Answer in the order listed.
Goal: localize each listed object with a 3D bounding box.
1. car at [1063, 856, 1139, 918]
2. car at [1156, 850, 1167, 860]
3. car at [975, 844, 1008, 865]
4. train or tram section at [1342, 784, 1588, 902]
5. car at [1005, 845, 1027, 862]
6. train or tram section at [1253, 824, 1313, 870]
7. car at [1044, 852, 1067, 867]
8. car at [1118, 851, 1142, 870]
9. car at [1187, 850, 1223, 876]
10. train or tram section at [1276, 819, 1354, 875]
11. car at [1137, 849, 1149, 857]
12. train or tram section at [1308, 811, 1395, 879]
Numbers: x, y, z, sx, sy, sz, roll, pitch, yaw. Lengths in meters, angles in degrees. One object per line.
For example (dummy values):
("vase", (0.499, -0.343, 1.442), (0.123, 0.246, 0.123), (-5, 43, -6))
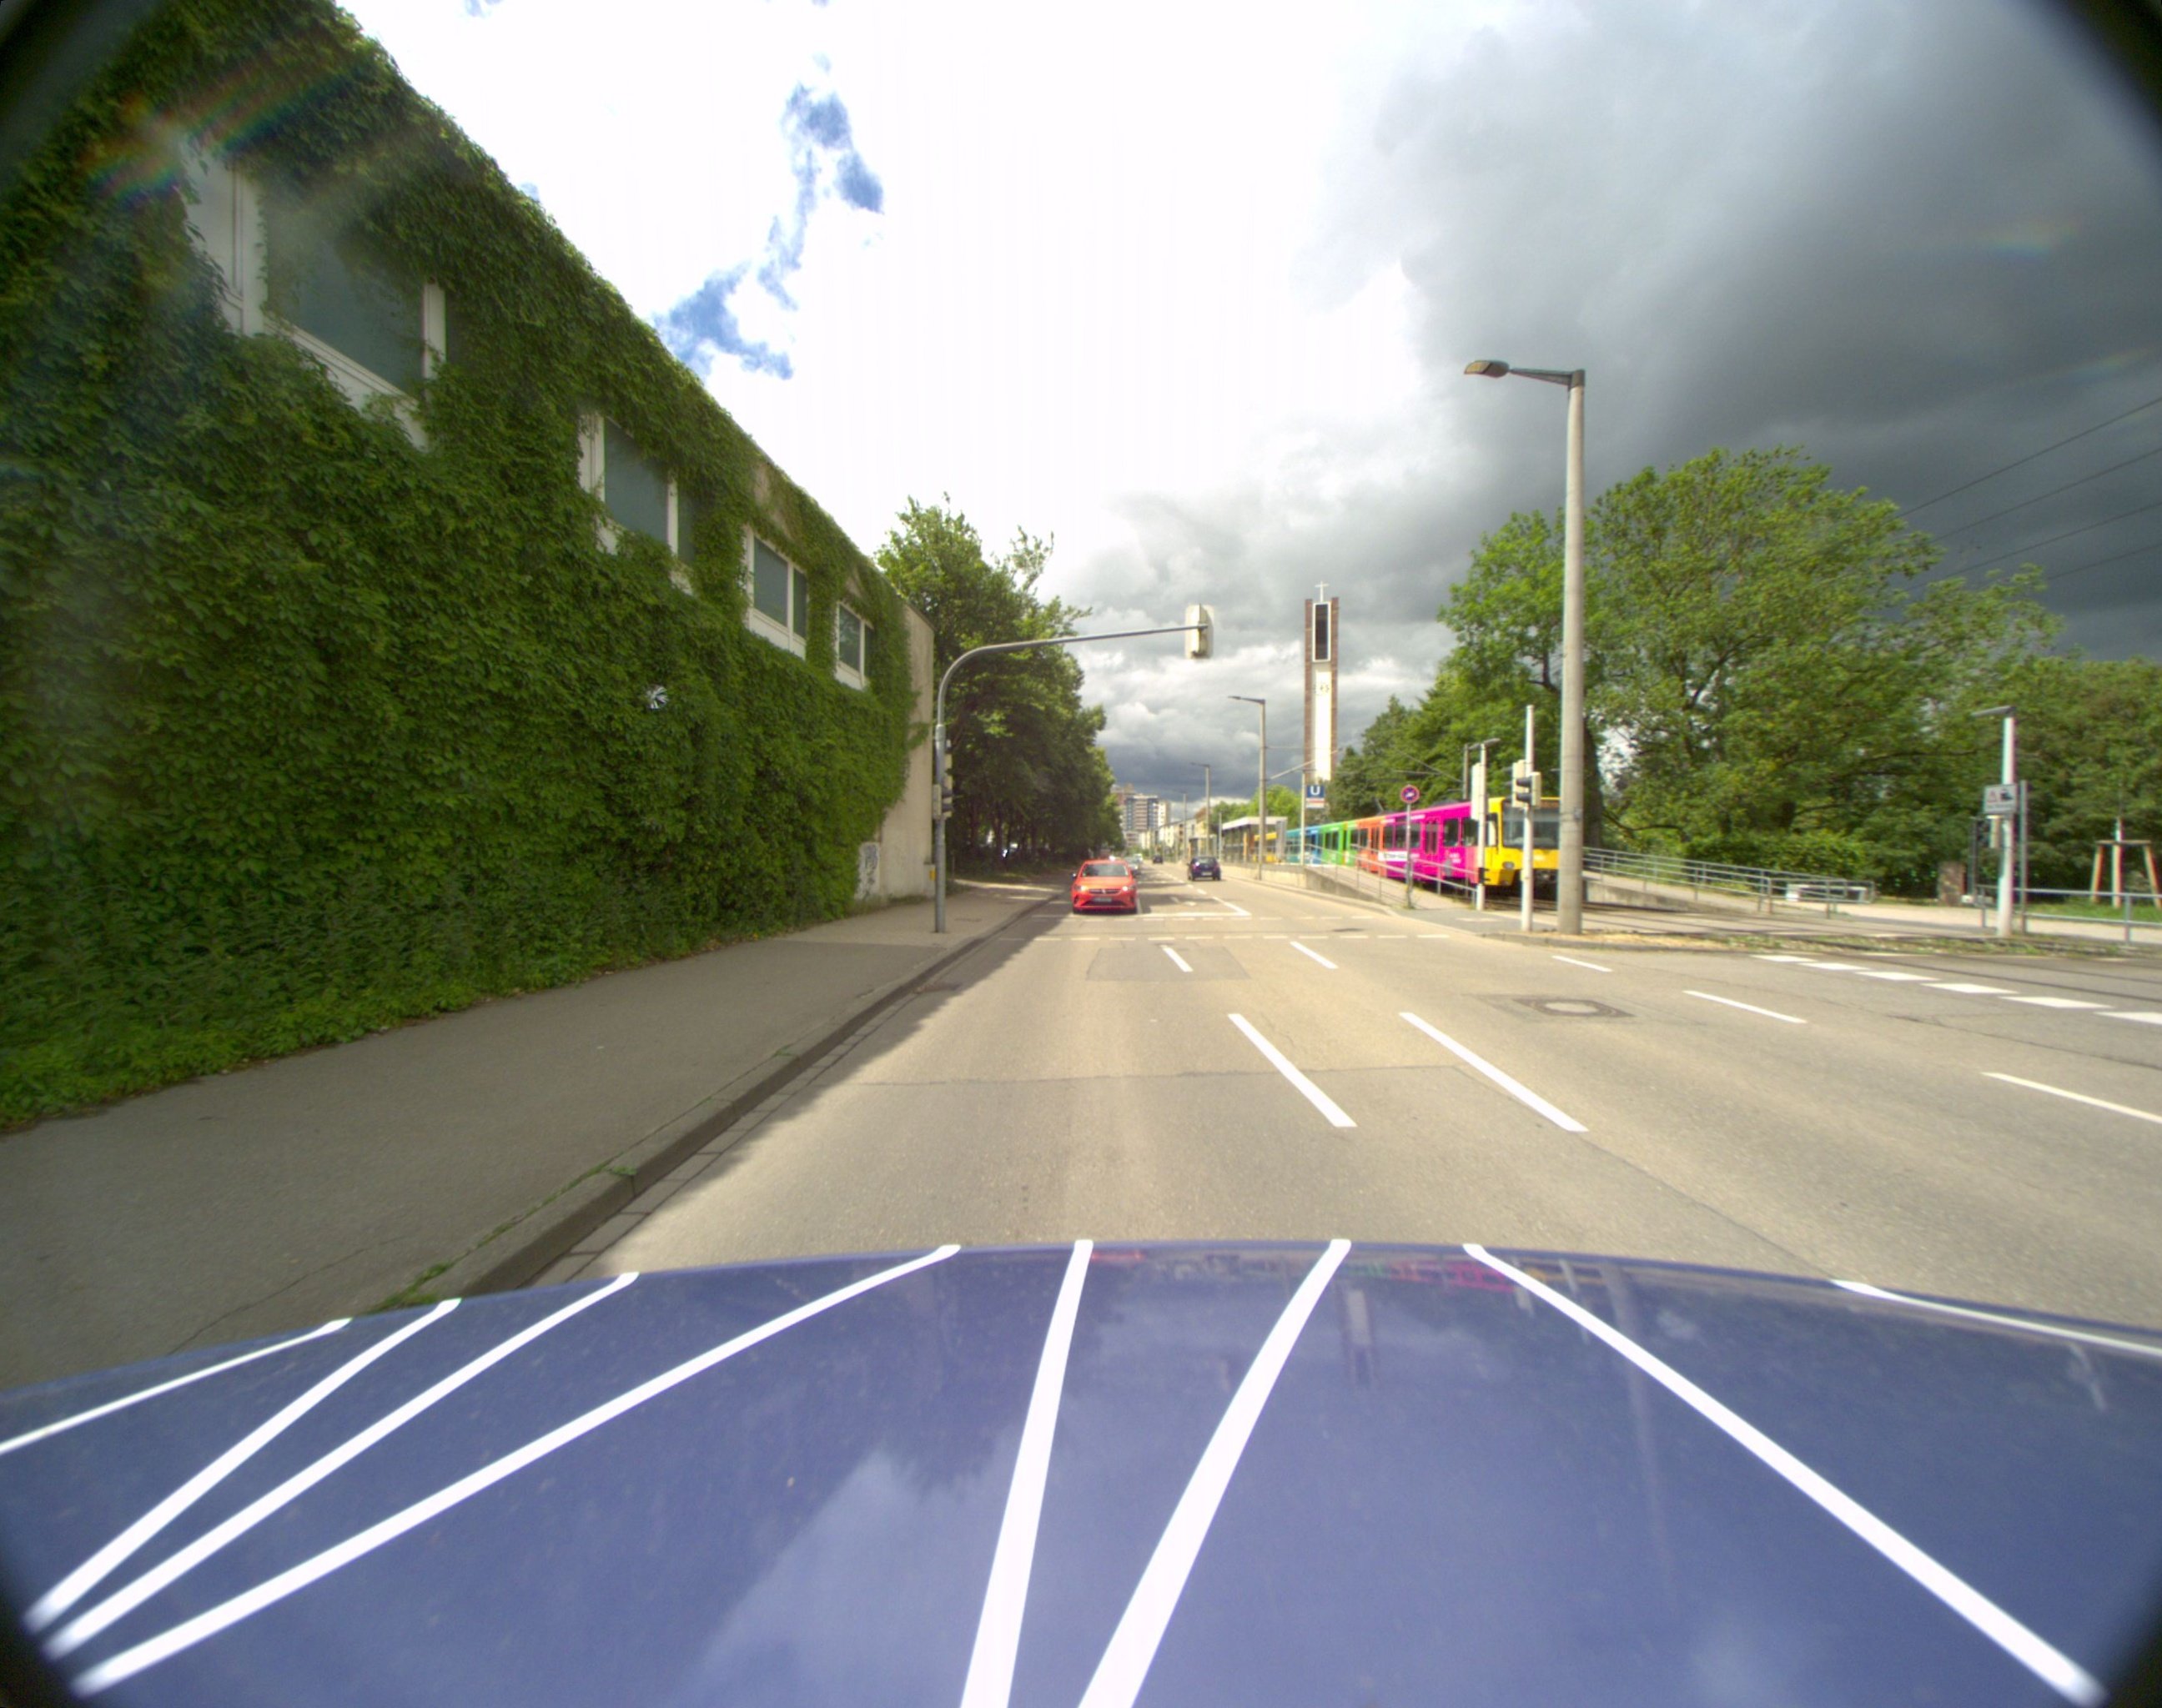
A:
("car", (0.645, 0.810, 20.516), (1.755, 1.433, 4.227), (0, 1, 6))
("car", (13.463, 0.209, 127.043), (1.755, 1.603, 4.227), (0, 1, 6))
("car", (-6.846, 0.012, 58.214), (1.755, 1.533, 3.677), (0, 1, 6))
("train or tram section", (15.960, -0.431, 34.587), (2.987, 3.840, 18.542), (-1, 0, 4))
("car", (-6.028, -0.041, 70.896), (1.756, 1.533, 4.225), (-1, 1, 0))
("train or tram section", (18.387, -0.612, 70.046), (2.987, 3.840, 12.203), (-1, 0, 4))
("car", (-2.577, 0.542, 77.389), (1.655, 1.533, 3.678), (0, 1, 9))
("car", (3.864, 0.487, 59.314), (1.755, 1.433, 4.227), (0, 1, 6))
("car", (7.294, 0.494, 45.059), (1.721, 1.433, 4.009), (0, 1, 3))
("train or tram section", (17.602, -0.520, 58.098), (2.987, 3.840, 11.788), (-1, 0, 4))
("car", (11.300, -0.166, 139.262), (1.821, 1.433, 4.008), (-1, 1, 0))
("train or tram section", (16.879, -0.534, 48.043), (2.987, 3.840, 8.380), (-1, 0, 4))
